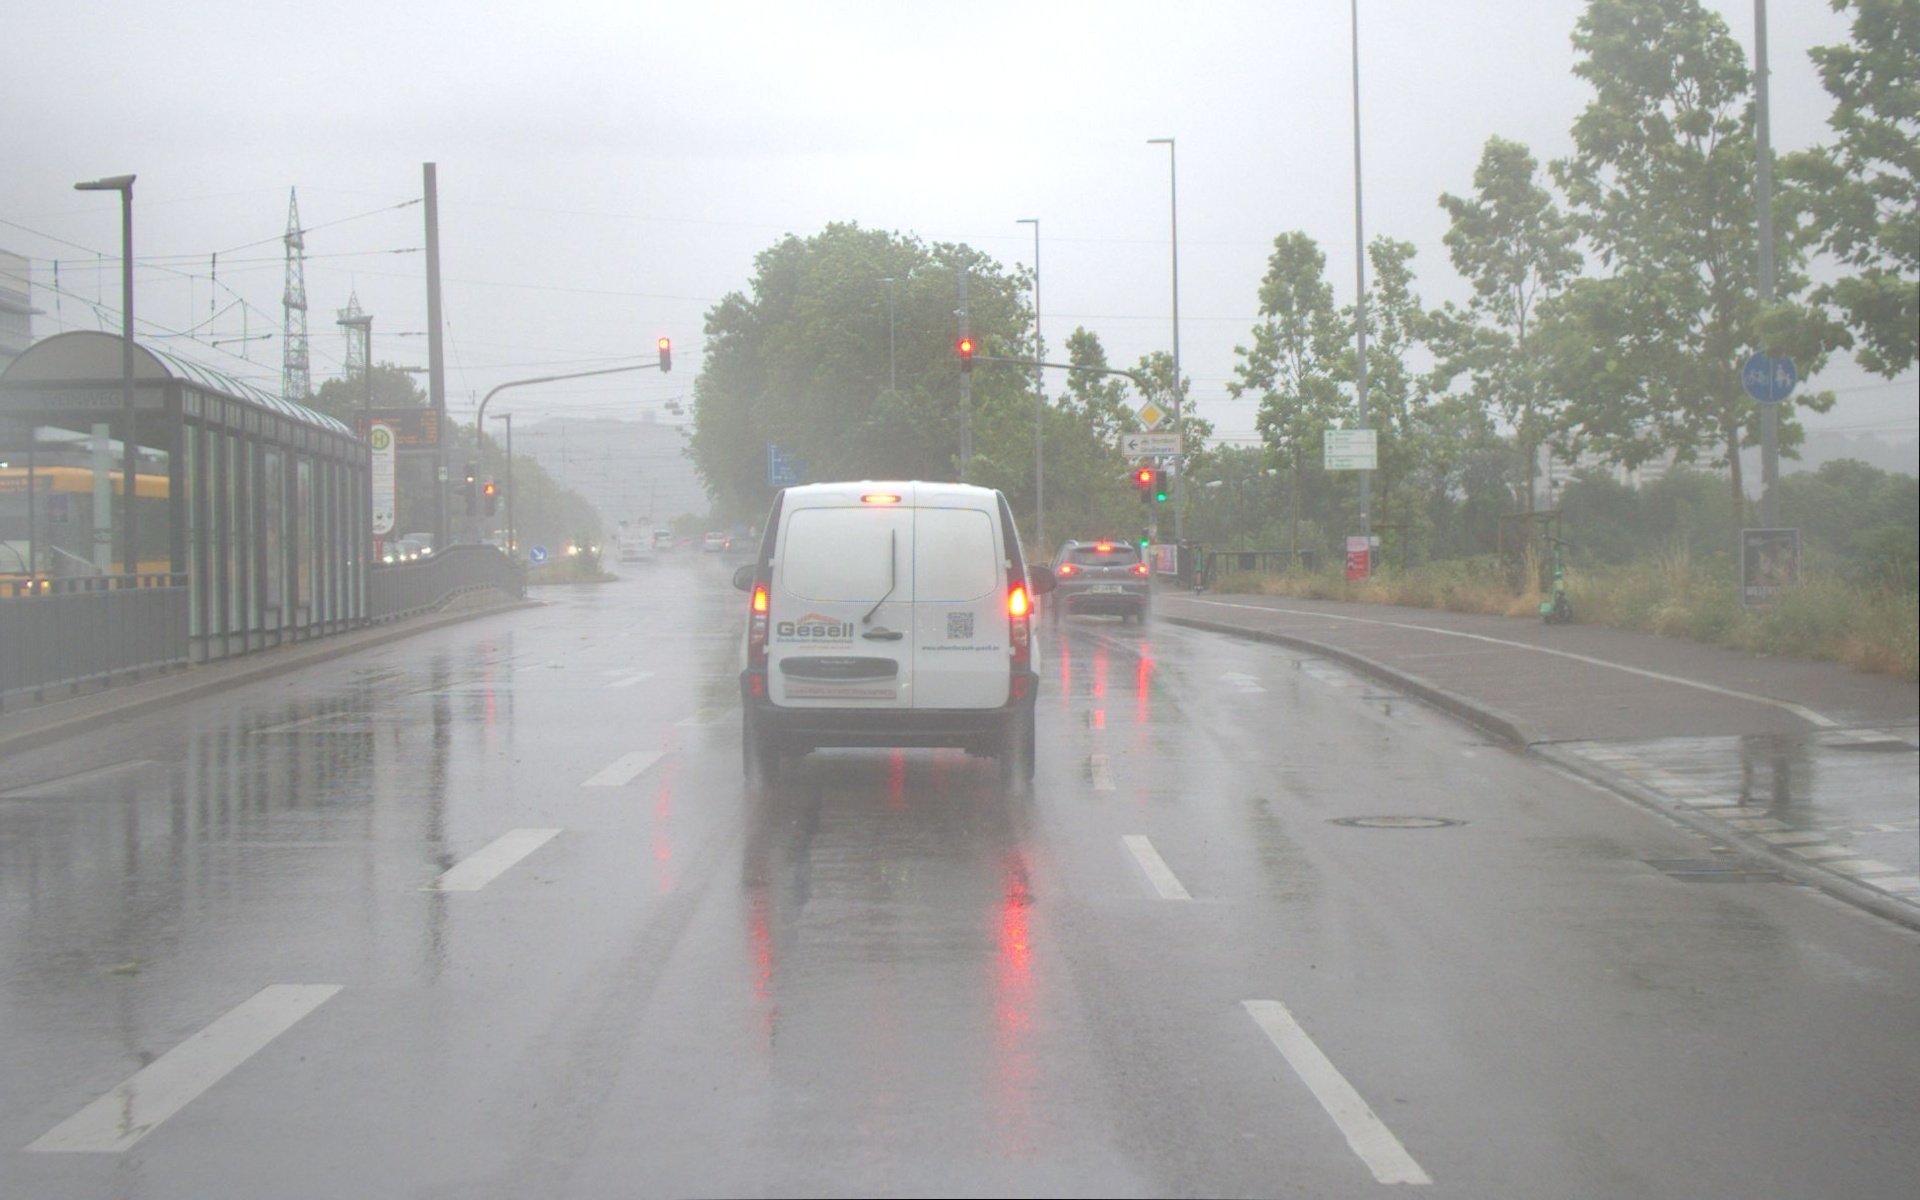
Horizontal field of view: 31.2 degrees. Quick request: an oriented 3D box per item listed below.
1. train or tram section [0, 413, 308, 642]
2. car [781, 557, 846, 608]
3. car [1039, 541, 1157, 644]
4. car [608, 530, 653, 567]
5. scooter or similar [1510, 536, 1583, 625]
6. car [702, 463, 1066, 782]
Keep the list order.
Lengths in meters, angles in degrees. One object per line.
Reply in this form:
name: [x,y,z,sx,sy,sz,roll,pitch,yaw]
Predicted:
train or tram section: [-17.864,-1.512,74.375,3.770,4.022,27.097,1,1,-3]
car: [-5.306,-0.652,123.956,1.993,1.744,4.001,1,1,-7]
car: [2.425,-0.163,61.308,1.993,1.744,4.000,1,1,1]
car: [-15.985,-2.506,166.726,1.993,1.744,4.001,1,1,-7]
scooter or similar: [8.063,-0.280,47.302,0.642,1.191,1.563,-1,1,-4]
car: [-0.562,0.099,21.570,2.024,1.769,4.275,1,1,-4]
